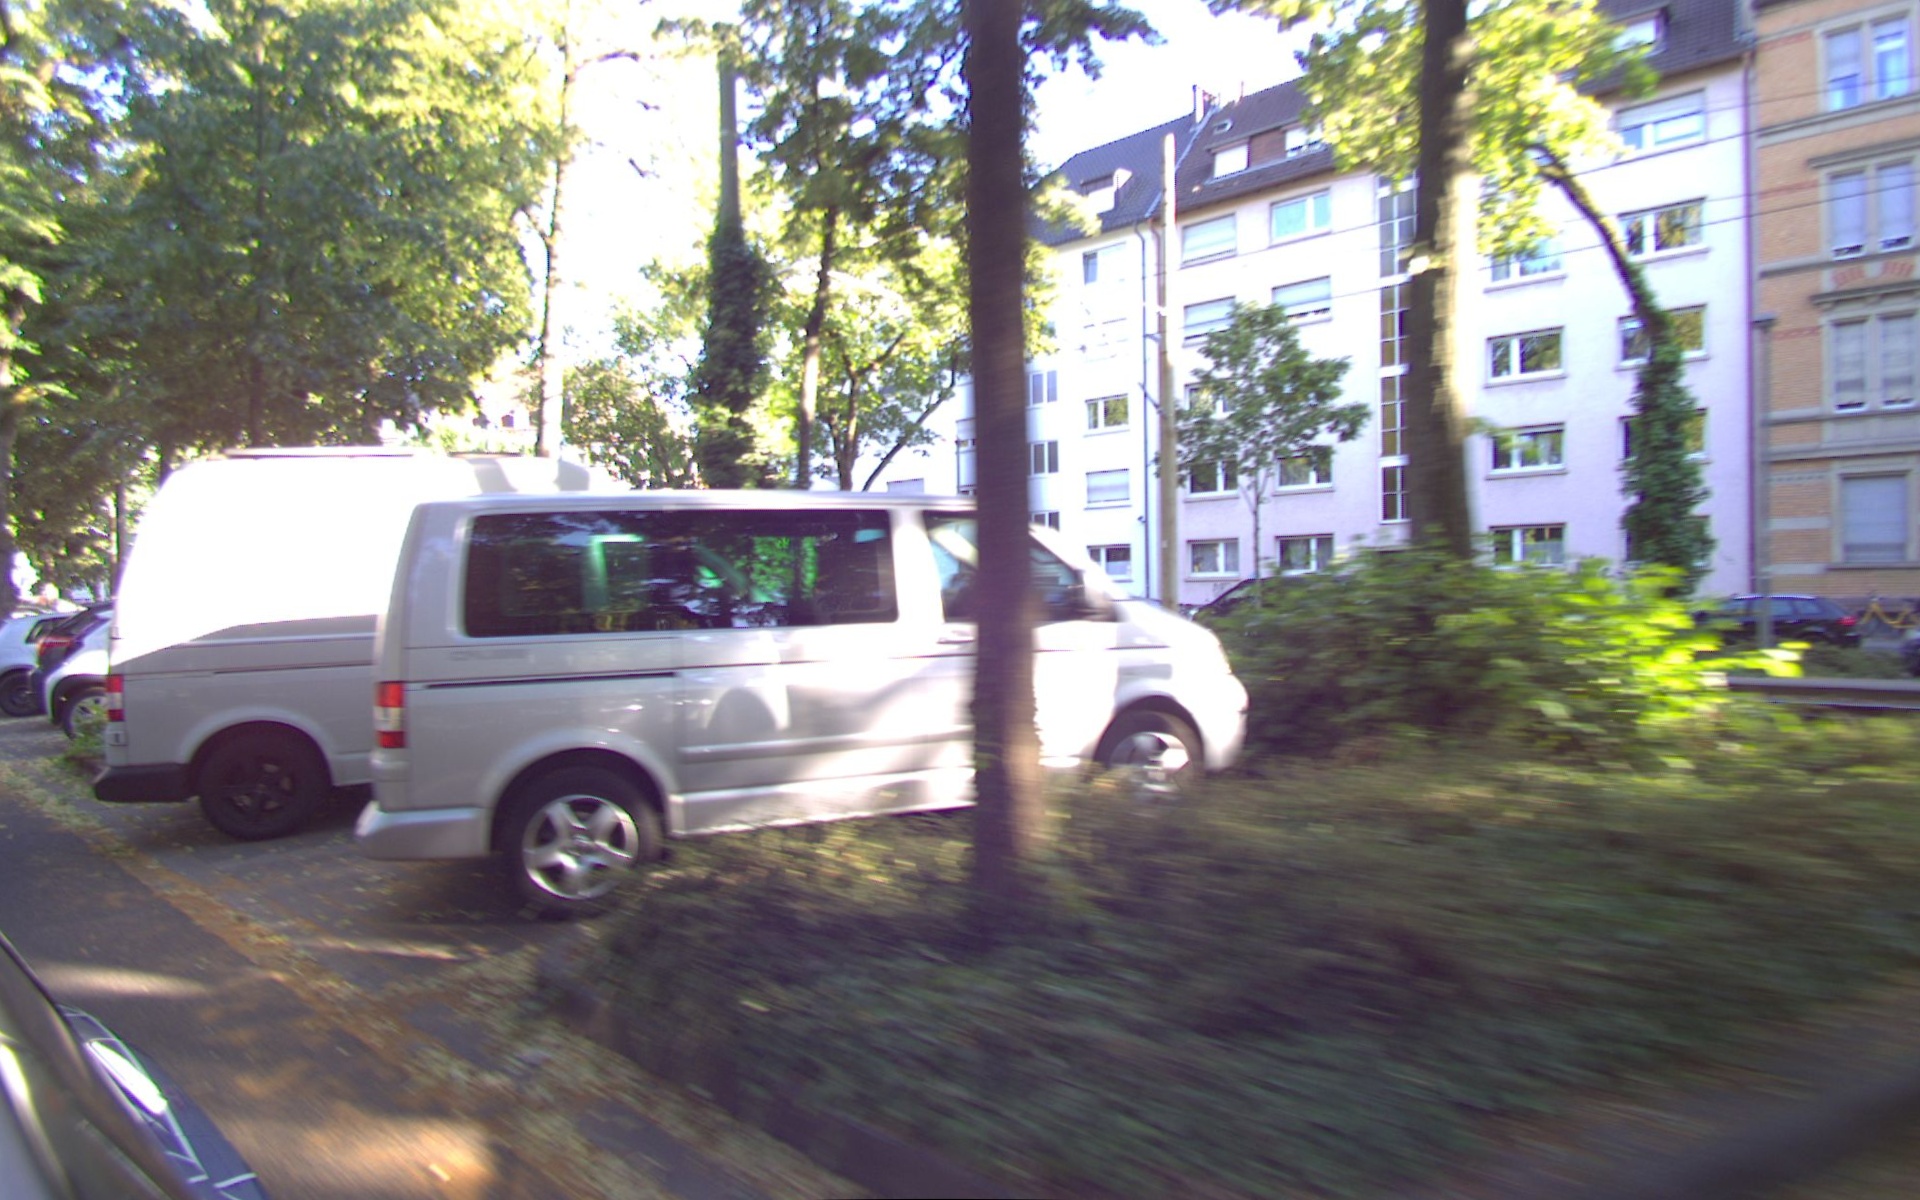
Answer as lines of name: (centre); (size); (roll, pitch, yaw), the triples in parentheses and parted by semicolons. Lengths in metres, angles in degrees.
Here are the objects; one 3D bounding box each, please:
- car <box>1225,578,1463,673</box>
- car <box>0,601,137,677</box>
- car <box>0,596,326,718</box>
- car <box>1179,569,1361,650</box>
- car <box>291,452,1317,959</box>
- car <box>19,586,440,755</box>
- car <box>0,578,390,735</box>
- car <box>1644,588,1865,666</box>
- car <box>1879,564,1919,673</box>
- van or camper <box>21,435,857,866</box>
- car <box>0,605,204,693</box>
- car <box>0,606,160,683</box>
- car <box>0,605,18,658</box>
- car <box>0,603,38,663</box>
car: (7.225, 0.456, 19.132); (3.932, 1.660, 1.743); (0, -1, -16)
car: (-21.520, 0.920, 23.042); (3.932, 1.523, 1.966); (-4, 2, -28)
car: (-12.368, 0.802, 15.496); (4.171, 1.451, 1.863); (-4, 3, -22)
car: (8.543, 0.282, 28.141); (4.415, 2.008, 1.832); (-2, 2, 41)
car: (-0.667, 0.294, 5.777); (4.803, 1.992, 2.052); (-3, 2, -19)
car: (-8.150, 0.698, 11.706); (3.490, 1.504, 1.831); (-4, 2, -19)
car: (-10.159, 0.644, 13.773); (3.971, 1.674, 1.863); (-4, 3, -25)
car: (16.691, 0.554, 21.359); (3.506, 1.414, 1.832); (-2, 2, 41)
car: (14.507, 0.308, 13.066); (4.251, 1.395, 1.912); (2, -1, -15)
van or camper: (-3.433, 0.145, 7.631); (4.802, 2.488, 2.052); (-3, 2, -21)
car: (-17.365, 0.950, 19.256); (4.389, 1.414, 1.863); (-4, 2, -22)
car: (-19.651, 0.968, 21.146); (4.240, 1.414, 1.750); (-4, 2, -26)
car: (-29.152, 1.023, 28.349); (3.632, 1.458, 1.640); (-4, 3, -26)
car: (-26.801, 0.963, 26.655); (3.296, 1.579, 1.577); (-4, 2, -24)
